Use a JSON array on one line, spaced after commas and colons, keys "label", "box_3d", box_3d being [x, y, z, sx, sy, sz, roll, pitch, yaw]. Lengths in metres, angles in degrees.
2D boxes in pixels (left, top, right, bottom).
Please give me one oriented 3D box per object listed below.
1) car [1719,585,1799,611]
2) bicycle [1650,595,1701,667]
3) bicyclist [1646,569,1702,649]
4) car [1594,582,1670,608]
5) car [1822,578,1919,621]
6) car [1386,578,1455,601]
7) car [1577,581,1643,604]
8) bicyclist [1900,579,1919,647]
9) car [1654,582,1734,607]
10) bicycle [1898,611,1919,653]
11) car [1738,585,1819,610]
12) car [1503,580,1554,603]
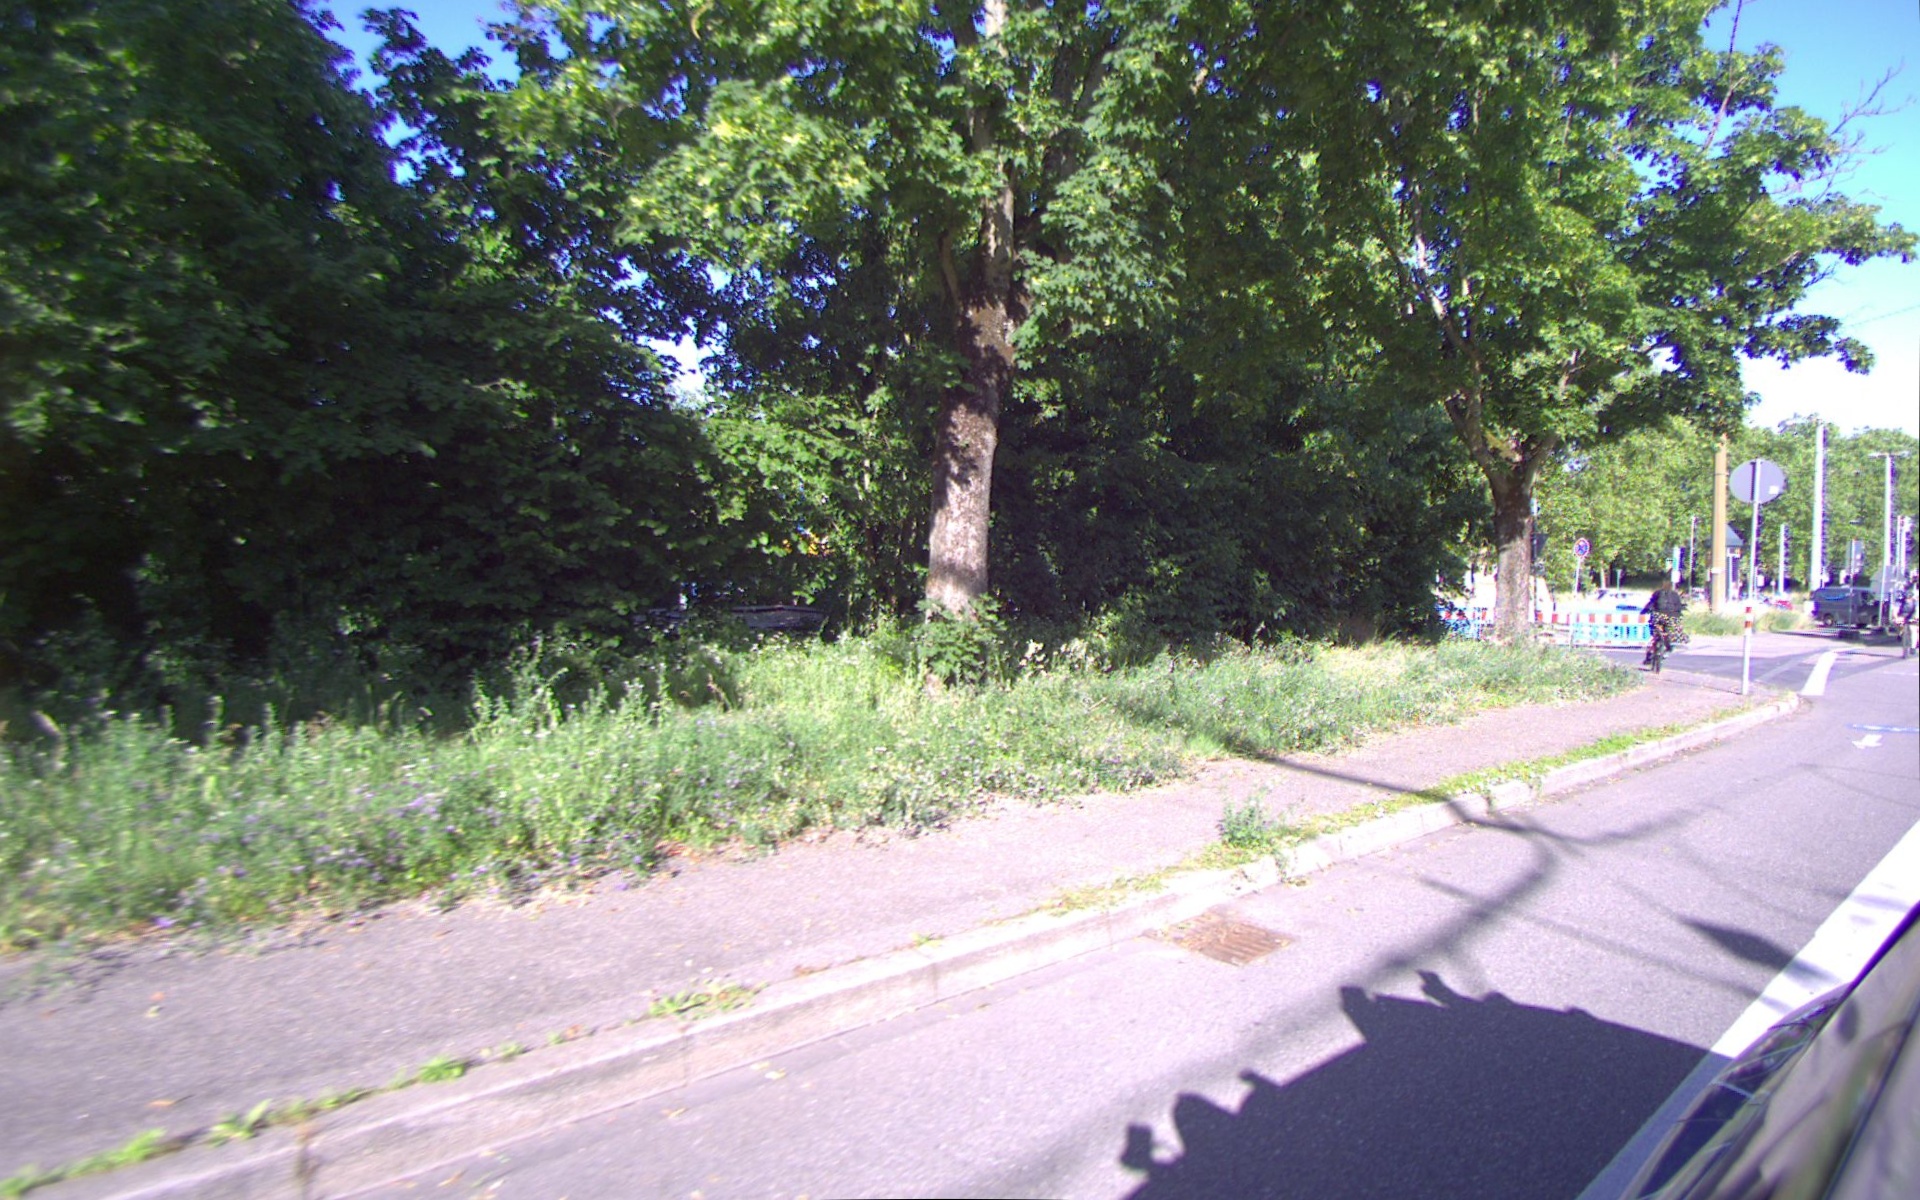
[{"label": "car", "box_3d": [53.416, -0.165, 67.700, 3.817, 1.620, 1.700, 2, 2, 23]}, {"label": "bicycle", "box_3d": [13.231, 0.524, 18.764, 0.616, 1.205, 2.477, 2, 2, 32]}, {"label": "bicyclist", "box_3d": [12.976, 0.153, 18.407, 0.753, 1.385, 0.796, 3, 2, 34]}, {"label": "car", "box_3d": [47.206, -0.396, 71.150, 4.131, 1.699, 1.919, 2, 2, 25]}, {"label": "car", "box_3d": [49.159, -0.072, 53.753, 2.088, 2.096, 5.126, 0, 2, -4]}, {"label": "car", "box_3d": [35.463, -0.819, 78.004, 4.726, 1.703, 1.893, 0, 2, 26]}, {"label": "car", "box_3d": [49.564, -0.596, 77.223, 3.959, 1.638, 1.983, 2, 2, 25]}, {"label": "bicyclist", "box_3d": [24.322, 0.314, 25.601, 0.916, 1.700, 0.616, 0, 2, -39]}, {"label": "car", "box_3d": [54.537, -0.448, 75.293, 4.447, 1.732, 1.905, 1, 3, 25]}, {"label": "bicycle", "box_3d": [24.081, 0.796, 25.334, 2.051, 0.934, 0.525, -2, 3, -38]}, {"label": "car", "box_3d": [56.937, -0.192, 70.459, 4.053, 1.620, 1.798, 2, 2, 29]}, {"label": "car", "box_3d": [43.386, -0.650, 77.299, 3.175, 1.635, 1.363, 1, 5, 25]}]
